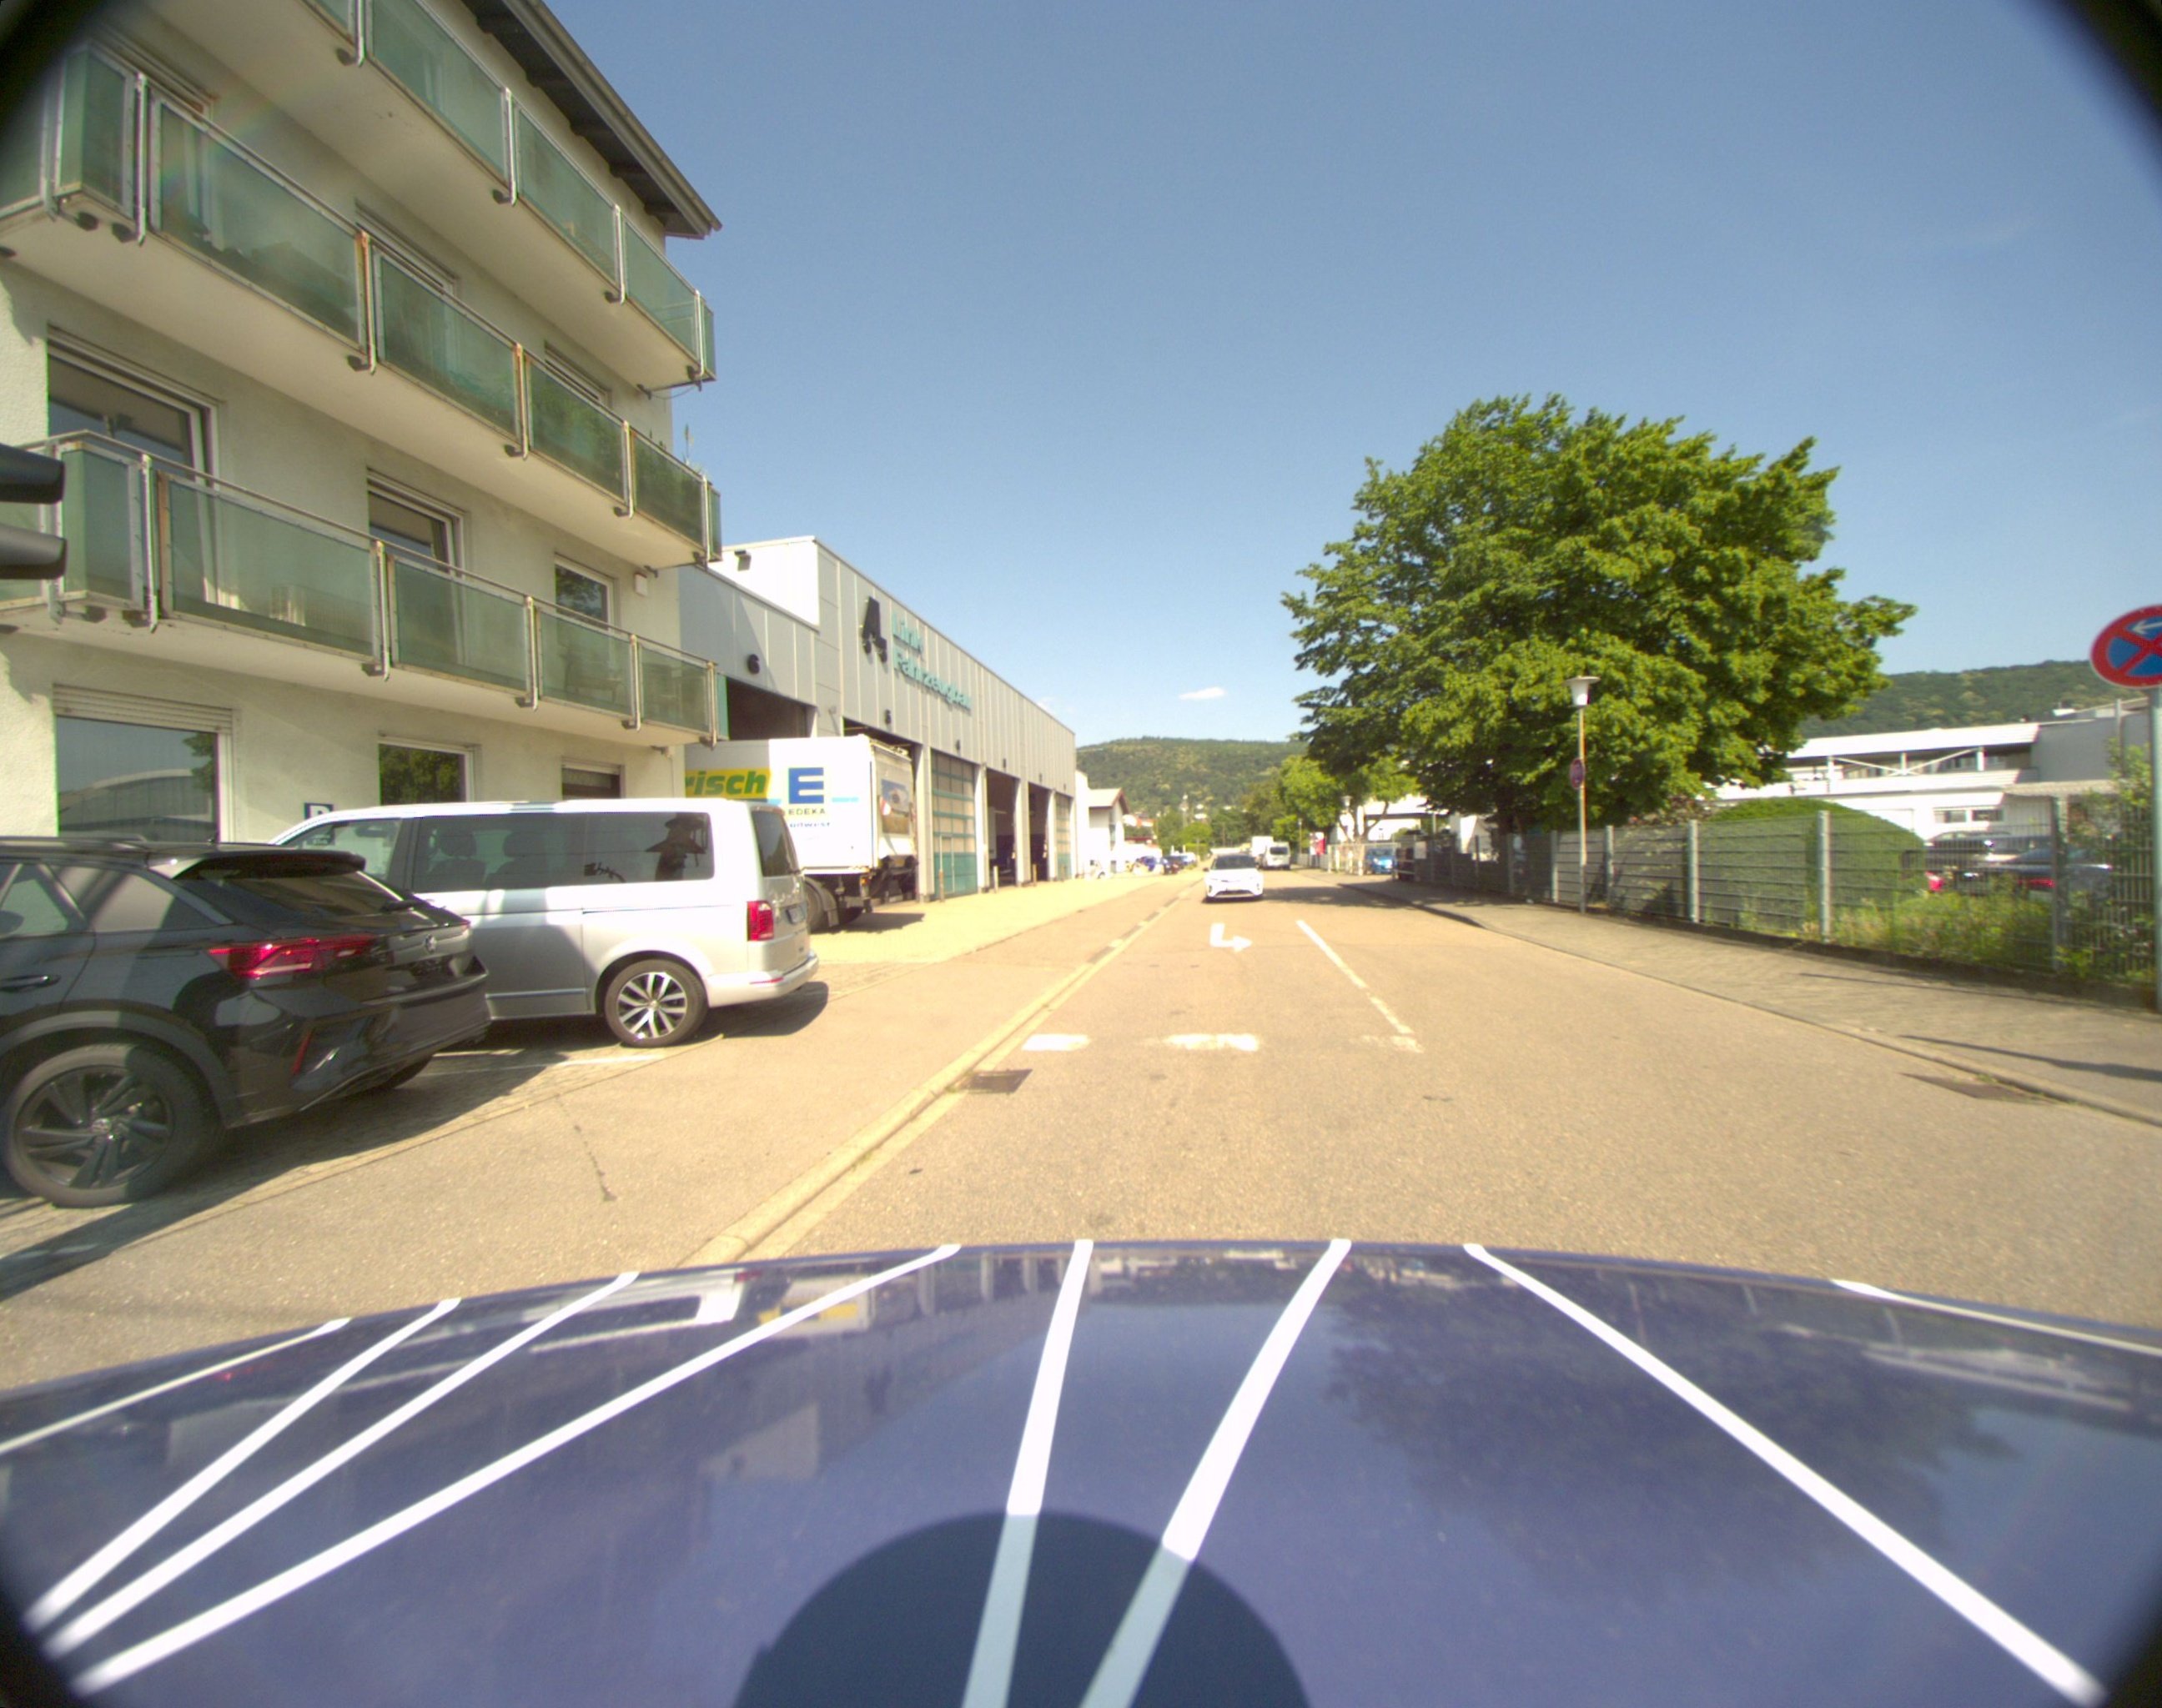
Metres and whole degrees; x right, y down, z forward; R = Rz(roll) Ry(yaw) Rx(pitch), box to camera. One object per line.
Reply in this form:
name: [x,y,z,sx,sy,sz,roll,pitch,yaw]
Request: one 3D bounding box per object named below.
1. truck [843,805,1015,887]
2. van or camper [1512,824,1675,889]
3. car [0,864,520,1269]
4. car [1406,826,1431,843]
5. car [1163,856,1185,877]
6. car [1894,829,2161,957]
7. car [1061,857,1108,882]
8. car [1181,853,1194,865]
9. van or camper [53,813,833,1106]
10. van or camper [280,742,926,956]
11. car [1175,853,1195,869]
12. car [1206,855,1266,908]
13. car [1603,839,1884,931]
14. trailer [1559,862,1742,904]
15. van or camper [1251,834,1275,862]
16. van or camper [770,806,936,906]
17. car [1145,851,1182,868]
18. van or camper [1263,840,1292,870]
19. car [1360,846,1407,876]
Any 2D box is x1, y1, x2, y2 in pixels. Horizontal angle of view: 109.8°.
truck: [-7.452,-0.332,37.543,7.848,3.760,2.627,-1,1,12]
van or camper: [17.308,0.082,25.870,4.189,1.853,1.775,-4,1,13]
car: [-5.409,0.876,3.584,3.975,1.512,1.878,-2,1,-14]
car: [31.641,-1.813,71.152,1.705,1.449,3.532,-1,0,31]
car: [6.837,0.878,55.631,1.451,1.371,3.188,-2,1,8]
car: [13.748,0.448,10.001,3.831,1.532,1.858,-1,0,8]
car: [0.241,0.999,50.317,2.828,1.524,1.310,-1,-1,-36]
car: [13.324,0.608,95.235,1.451,1.371,3.188,-4,0,8]
van or camper: [-4.626,0.683,6.332,4.556,1.896,1.998,-1,0,-9]
van or camper: [-9.311,-0.030,15.459,11.625,3.671,2.782,-1,1,4]
car: [10.325,0.653,75.632,1.452,1.487,3.187,-4,0,0]
car: [5.051,0.834,24.874,1.735,1.521,4.112,-1,1,11]
car: [11.384,0.531,13.292,3.383,1.476,1.519,-1,0,13]
trailer: [14.119,0.720,19.014,3.287,0.934,1.614,-1,0,13]
van or camper: [22.468,-0.713,94.085,2.523,3.350,5.595,-1,1,11]
van or camper: [-7.878,0.087,26.506,5.051,3.187,2.001,-2,1,9]
car: [7.019,0.485,64.870,2.973,1.332,1.454,-1,1,12]
van or camper: [16.586,0.040,64.217,2.026,2.363,4.689,0,1,11]
car: [16.638,0.340,41.939,1.643,1.449,3.527,-4,0,10]
